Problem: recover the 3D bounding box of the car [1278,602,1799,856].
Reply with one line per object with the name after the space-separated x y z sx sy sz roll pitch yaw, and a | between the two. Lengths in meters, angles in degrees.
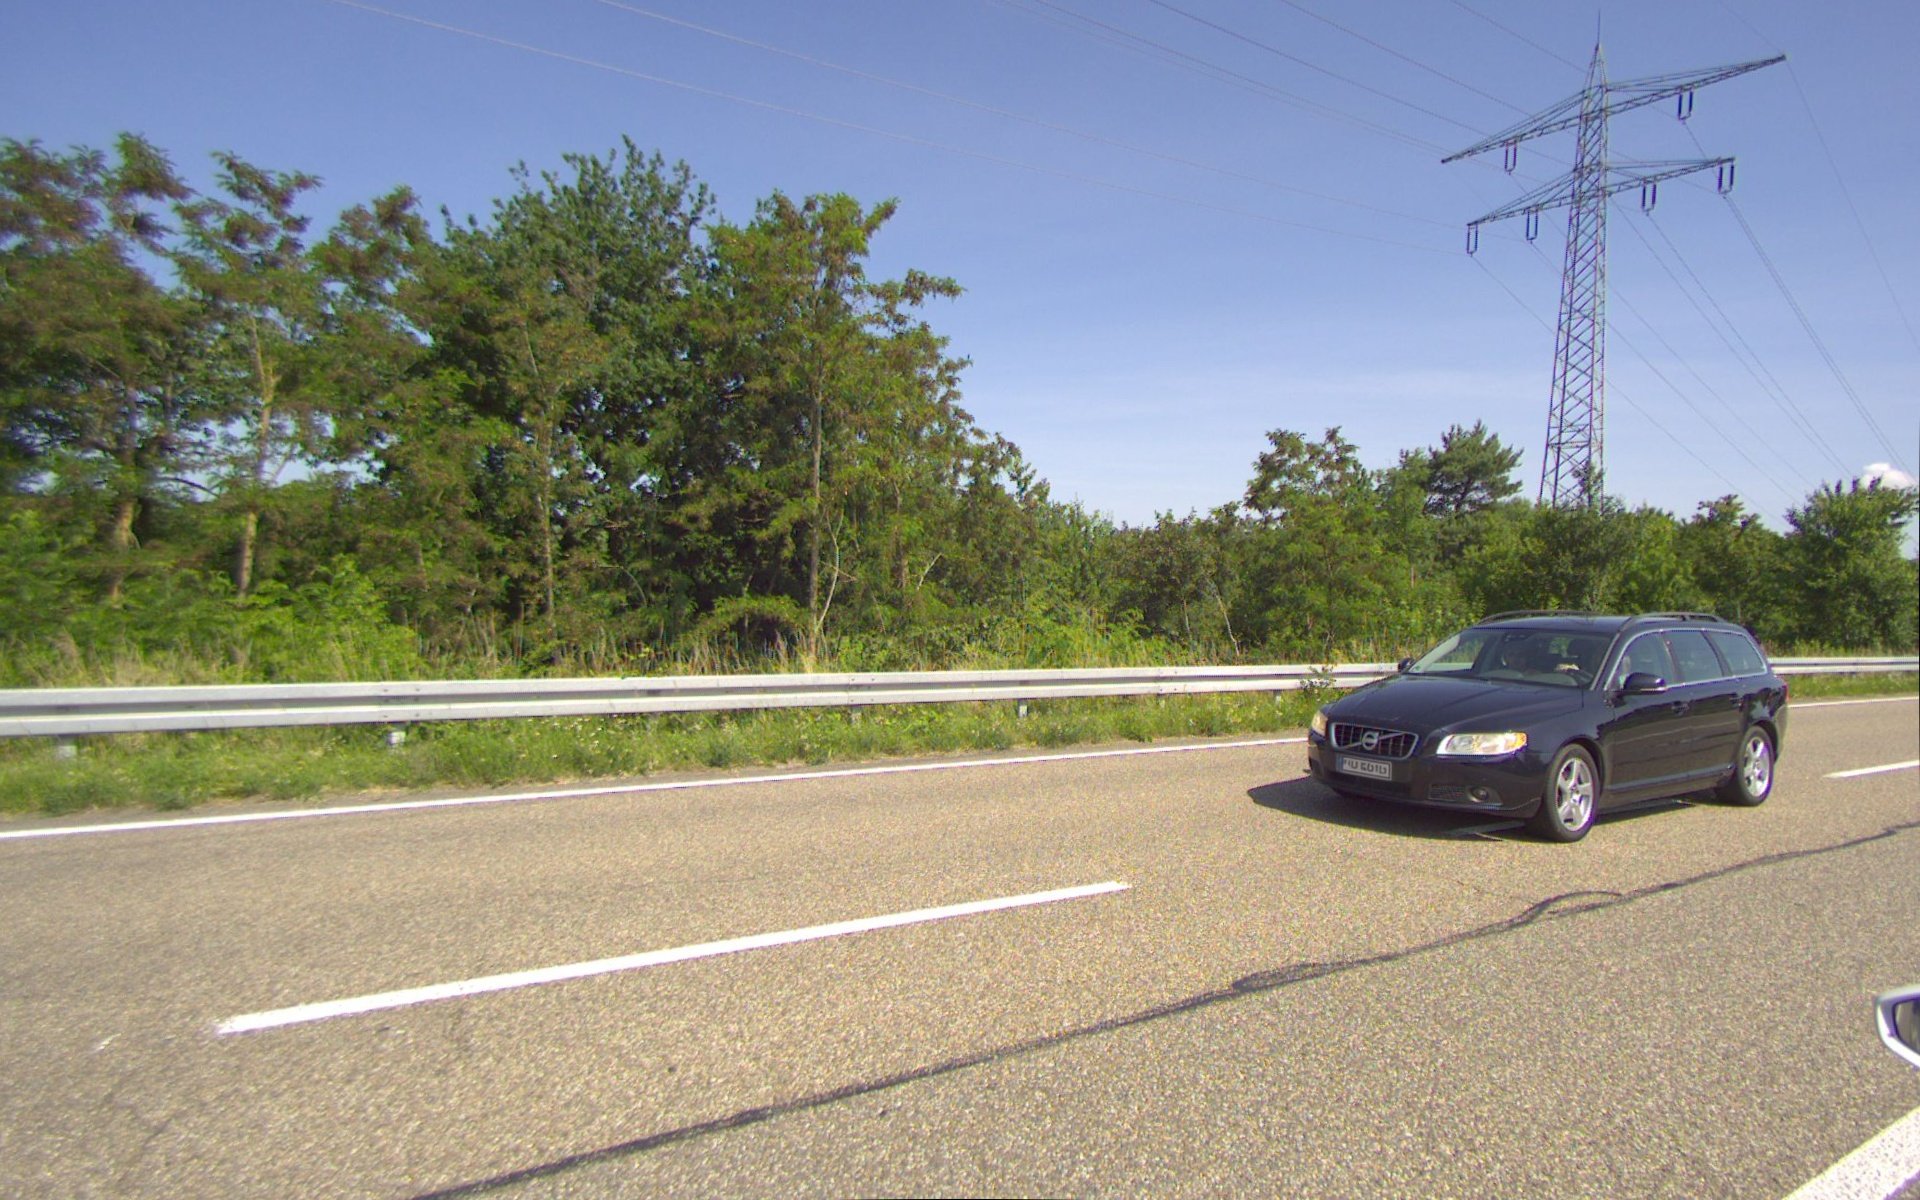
4.696 0.822 7.963 4.373 1.511 1.718 1 0 -32 | car
